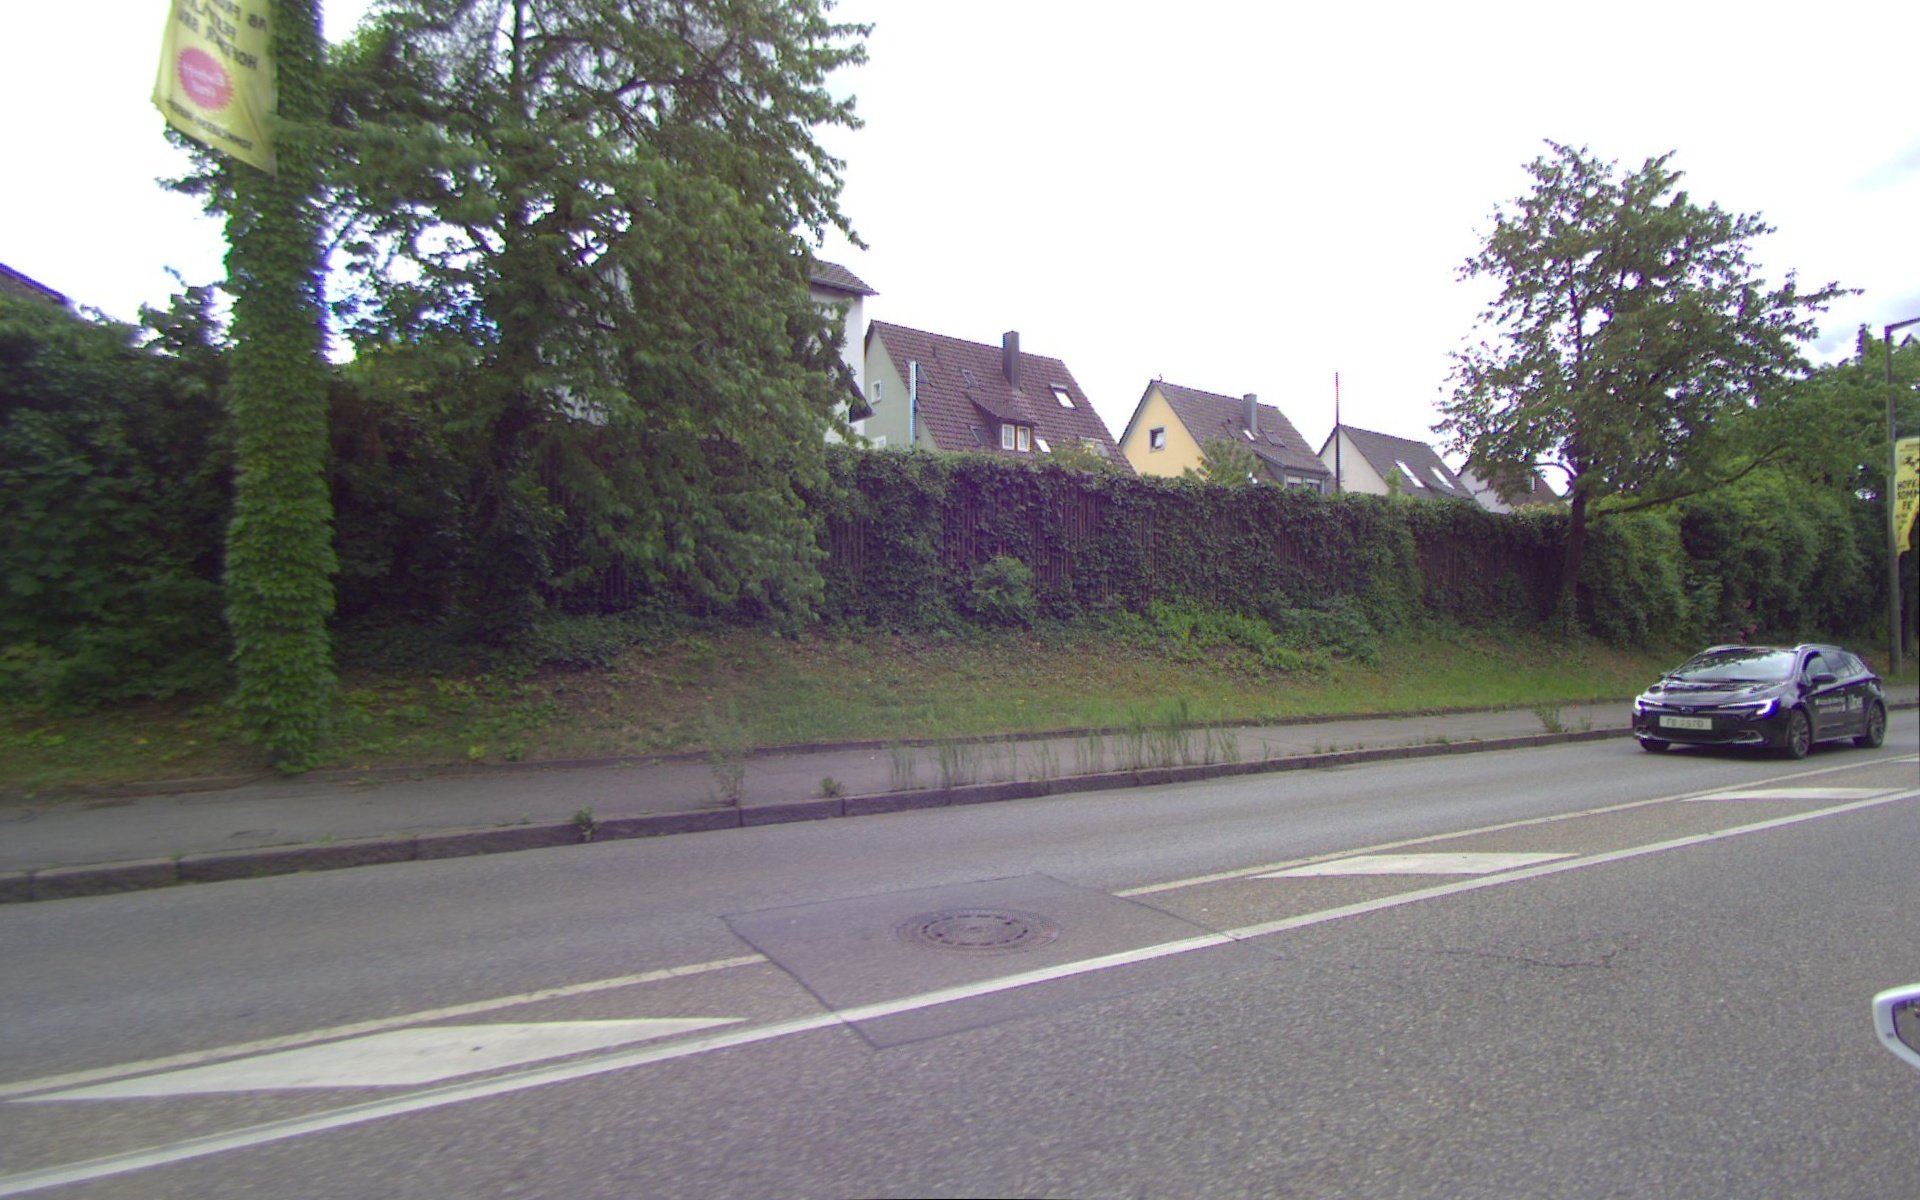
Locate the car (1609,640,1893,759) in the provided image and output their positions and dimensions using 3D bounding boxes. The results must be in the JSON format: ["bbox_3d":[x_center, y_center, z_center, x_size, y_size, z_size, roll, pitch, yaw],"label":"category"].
[{"bbox_3d":[10.942,1.283,13.839,4.169,1.418,1.757,2,-4,-32],"label":"car"}]
